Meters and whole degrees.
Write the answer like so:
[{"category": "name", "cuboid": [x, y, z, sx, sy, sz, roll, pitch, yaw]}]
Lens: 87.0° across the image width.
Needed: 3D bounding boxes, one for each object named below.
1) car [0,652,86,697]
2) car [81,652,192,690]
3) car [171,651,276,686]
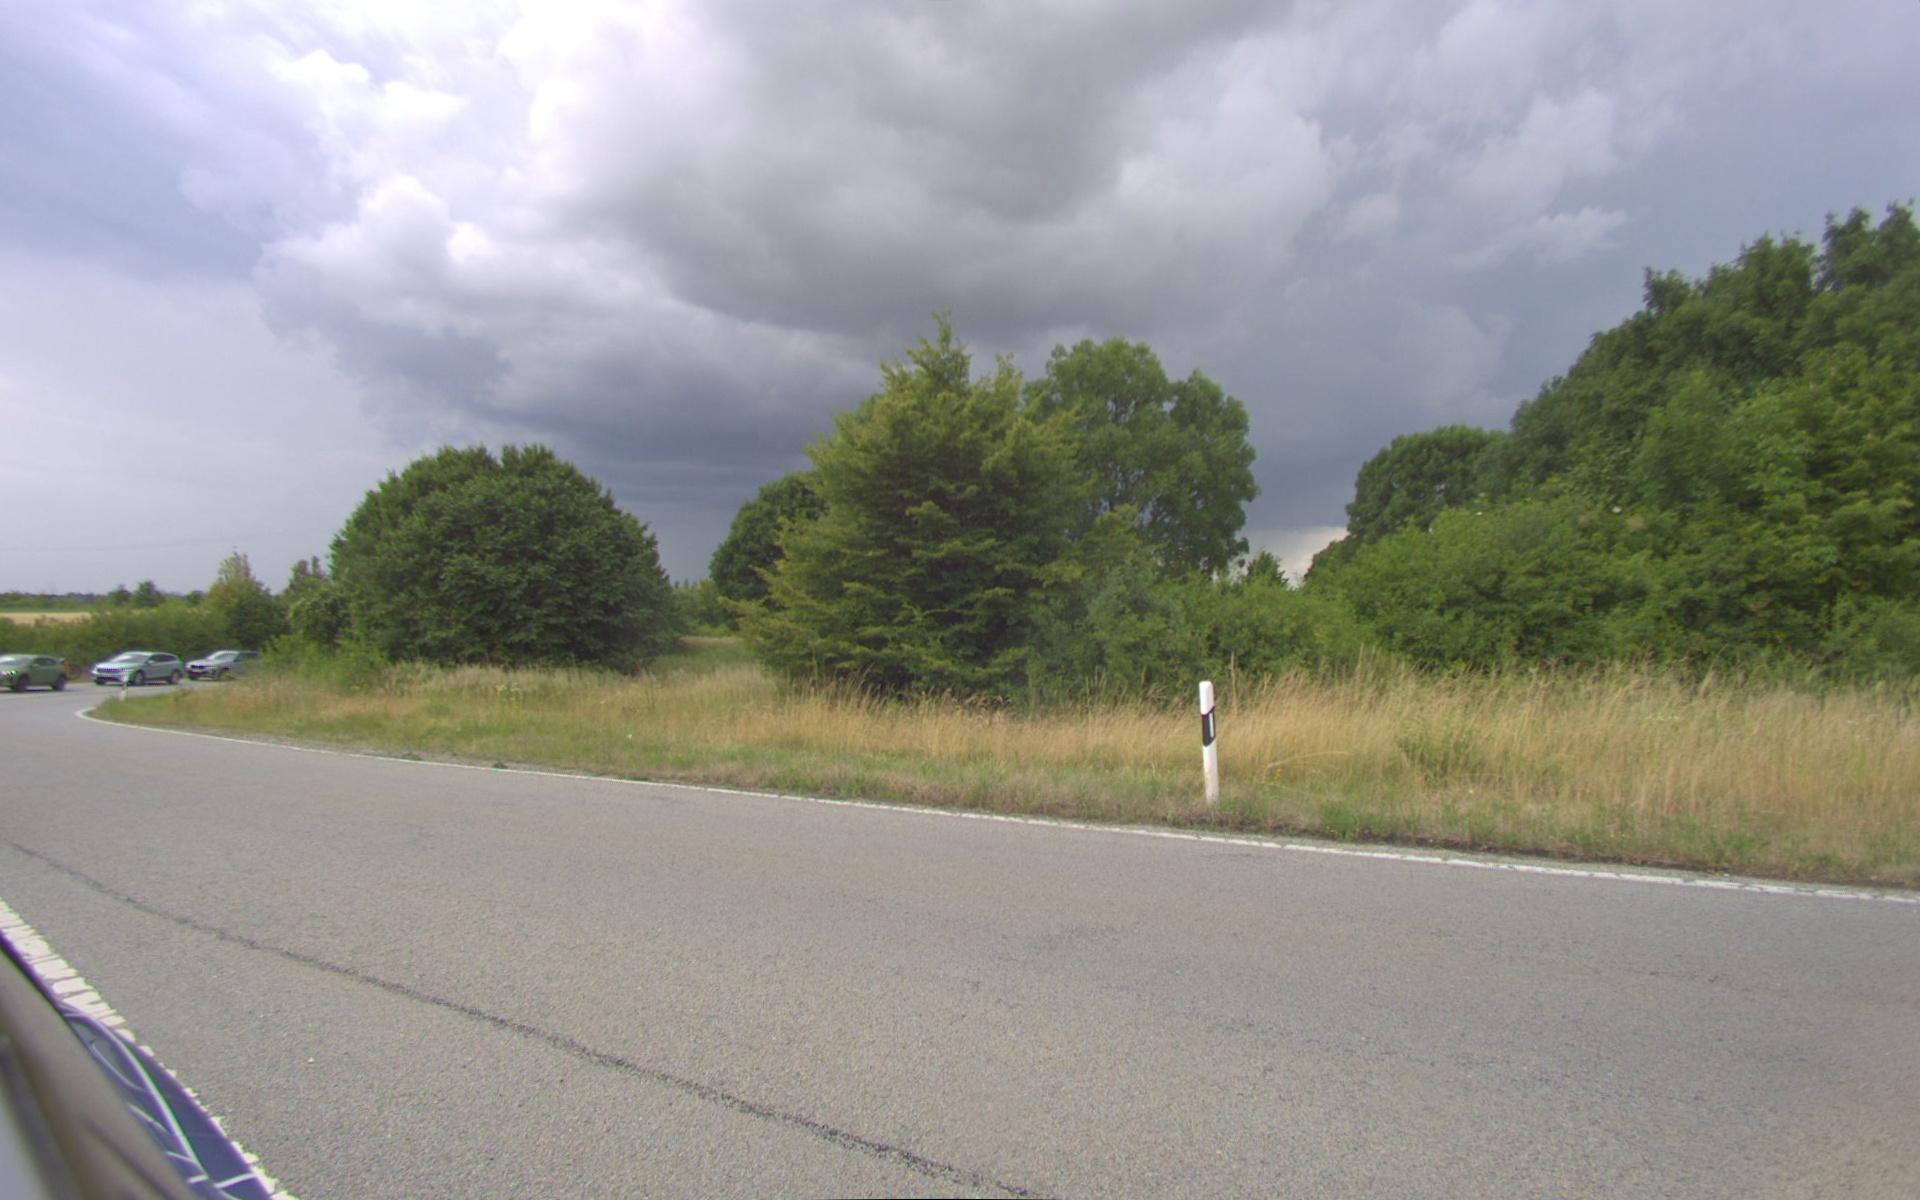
[{"category": "car", "cuboid": [-38.869, 3.041, 41.758, 1.967, 1.733, 5.221, 2, -4, -13]}, {"category": "car", "cuboid": [-40.925, 3.530, 50.485, 1.968, 1.733, 5.219, 2, -4, -10]}, {"category": "car", "cuboid": [-41.657, 3.834, 57.439, 1.973, 1.732, 5.204, 2, -2, 2]}]
